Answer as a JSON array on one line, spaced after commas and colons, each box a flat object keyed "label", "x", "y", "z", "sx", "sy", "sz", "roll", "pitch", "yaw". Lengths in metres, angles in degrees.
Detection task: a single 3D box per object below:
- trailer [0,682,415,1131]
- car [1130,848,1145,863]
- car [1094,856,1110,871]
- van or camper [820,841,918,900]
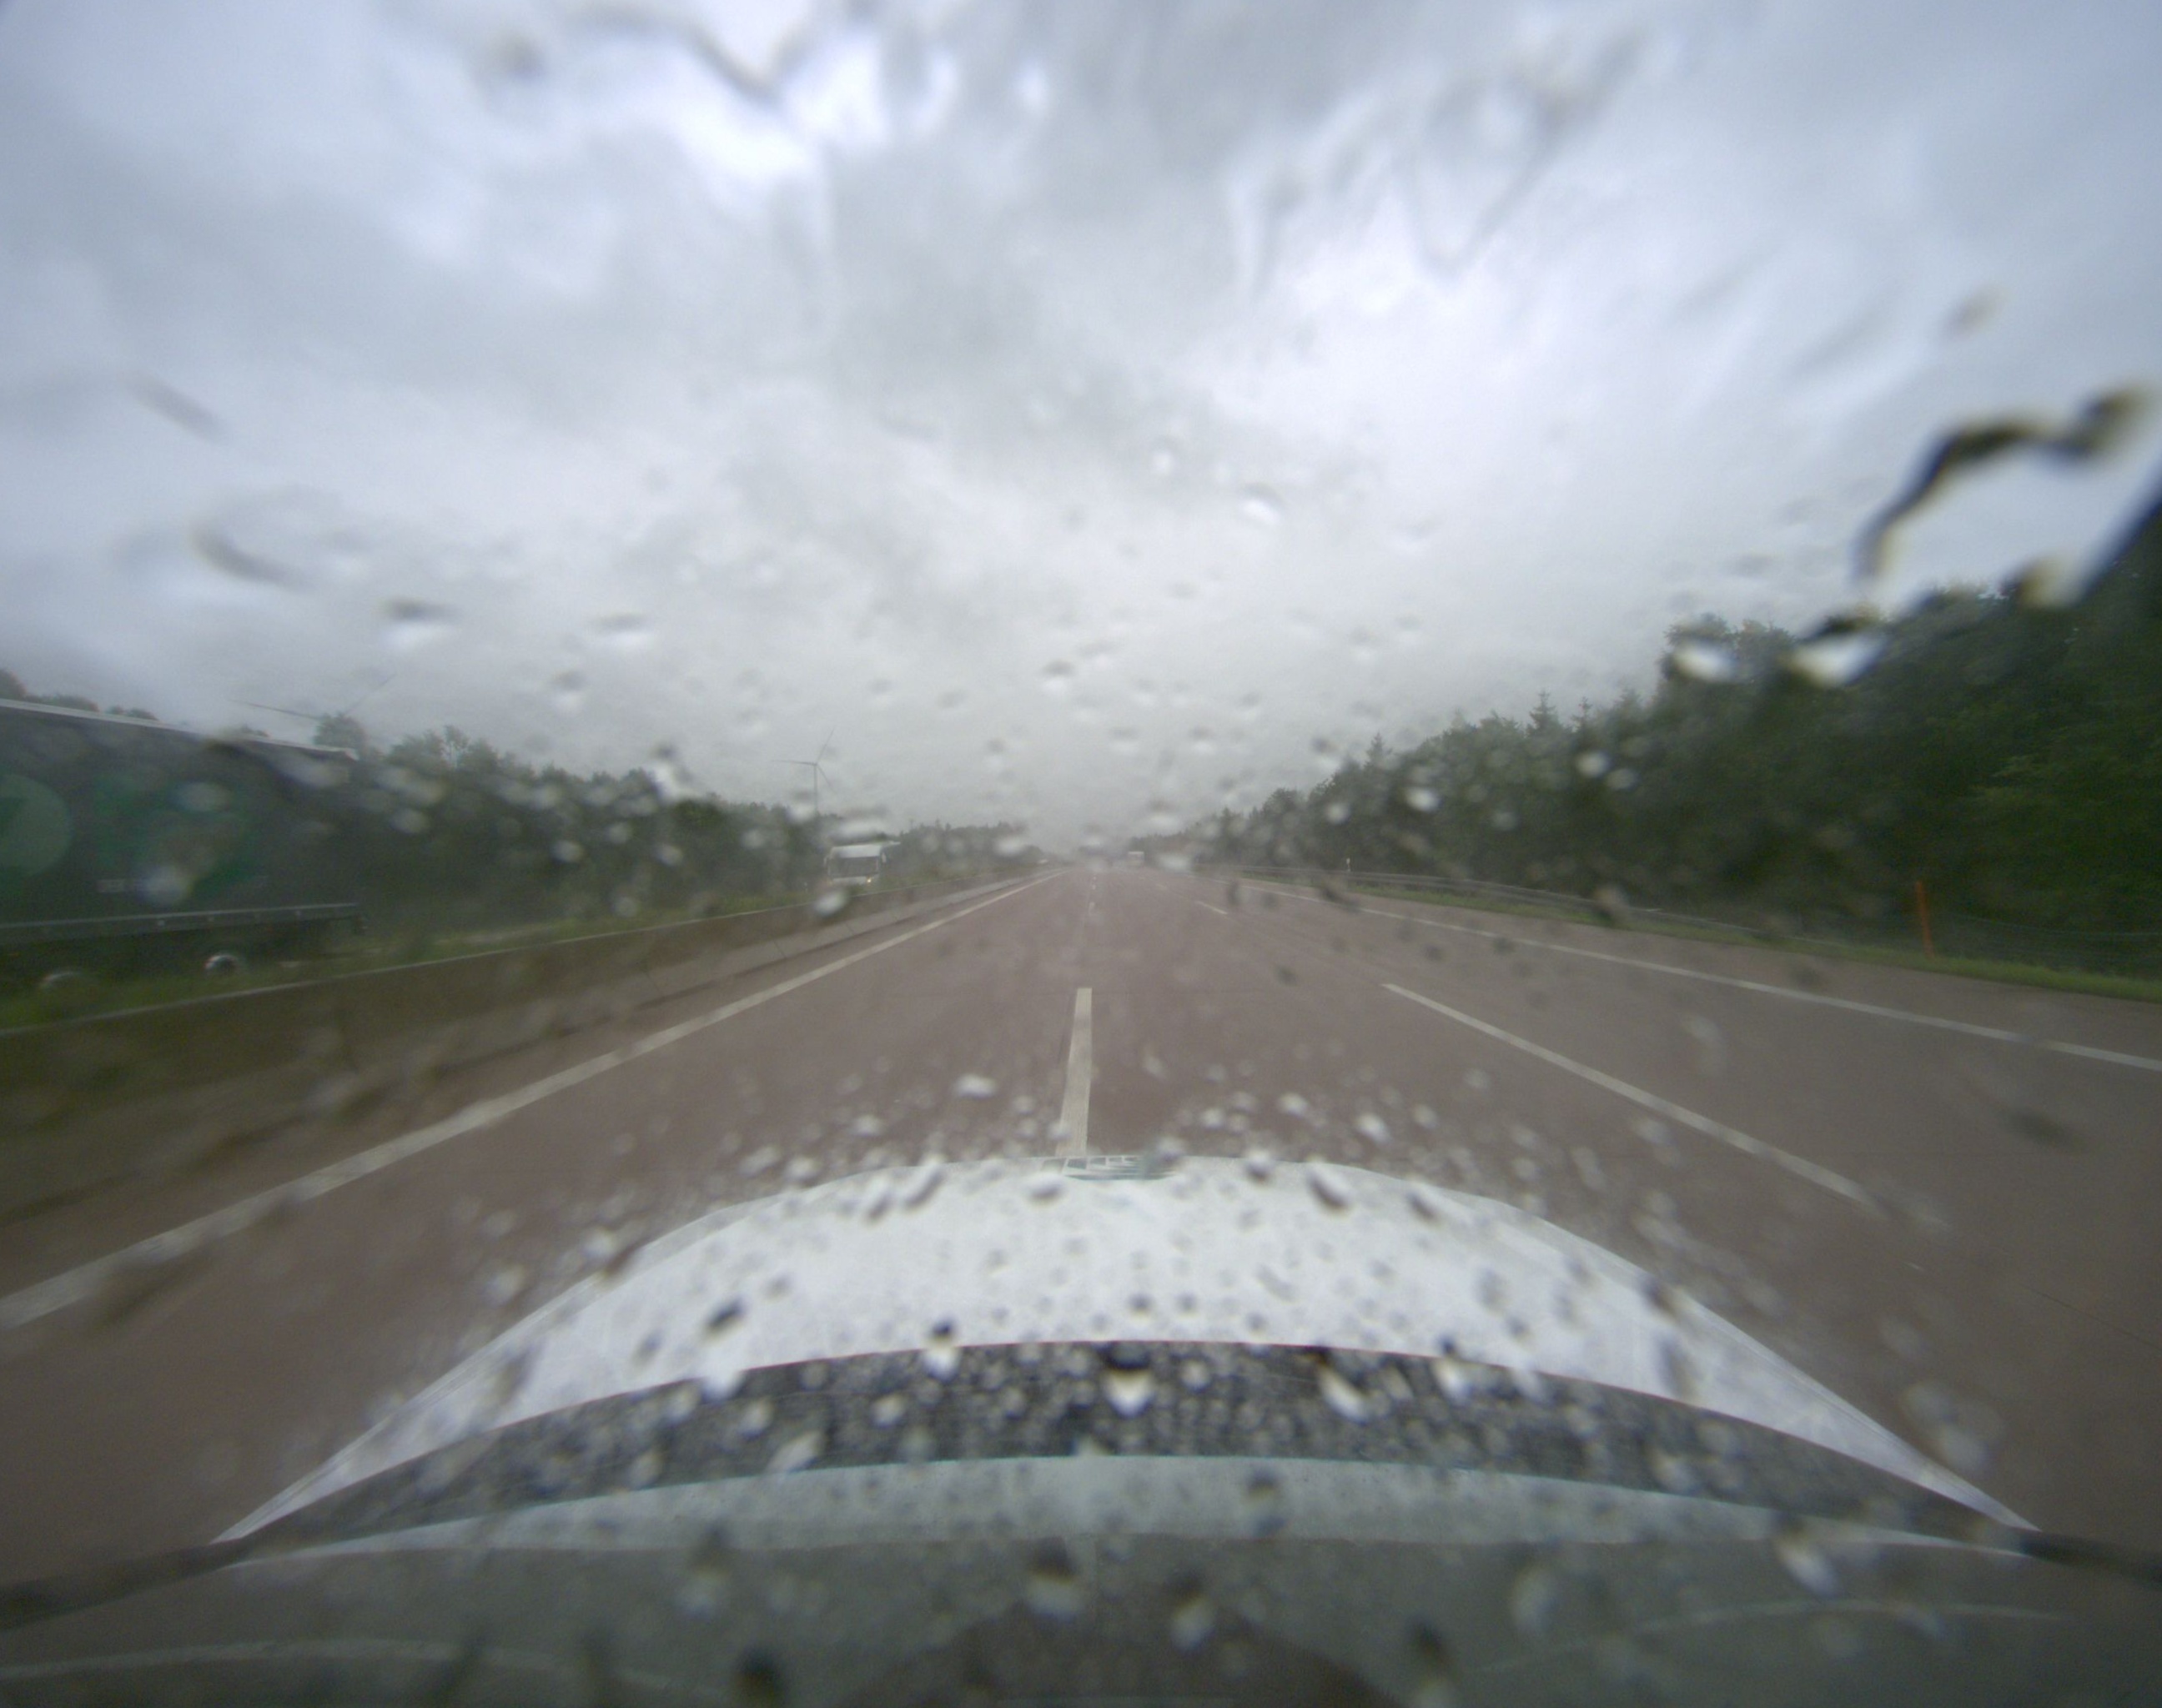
[{"label": "trailer", "x": -14.182, "y": 0.595, "z": 7.680, "sx": 3.977, "sy": 5.059, "sz": 14.236, "roll": 0, "pitch": 0, "yaw": 0}, {"label": "car", "x": 8.238, "y": 0.229, "z": 119.186, "sx": 2.050, "sy": 1.999, "sz": 4.100, "roll": 2, "pitch": 0, "yaw": 2}, {"label": "car", "x": 2.979, "y": 1.280, "z": 113.584, "sx": 2.165, "sy": 1.981, "sz": 4.132, "roll": 2, "pitch": 0, "yaw": 2}, {"label": "van or camper", "x": -9.764, "y": 0.709, "z": 38.229, "sx": 2.781, "sy": 2.405, "sz": 6.488, "roll": -3, "pitch": 0, "yaw": 0}]
